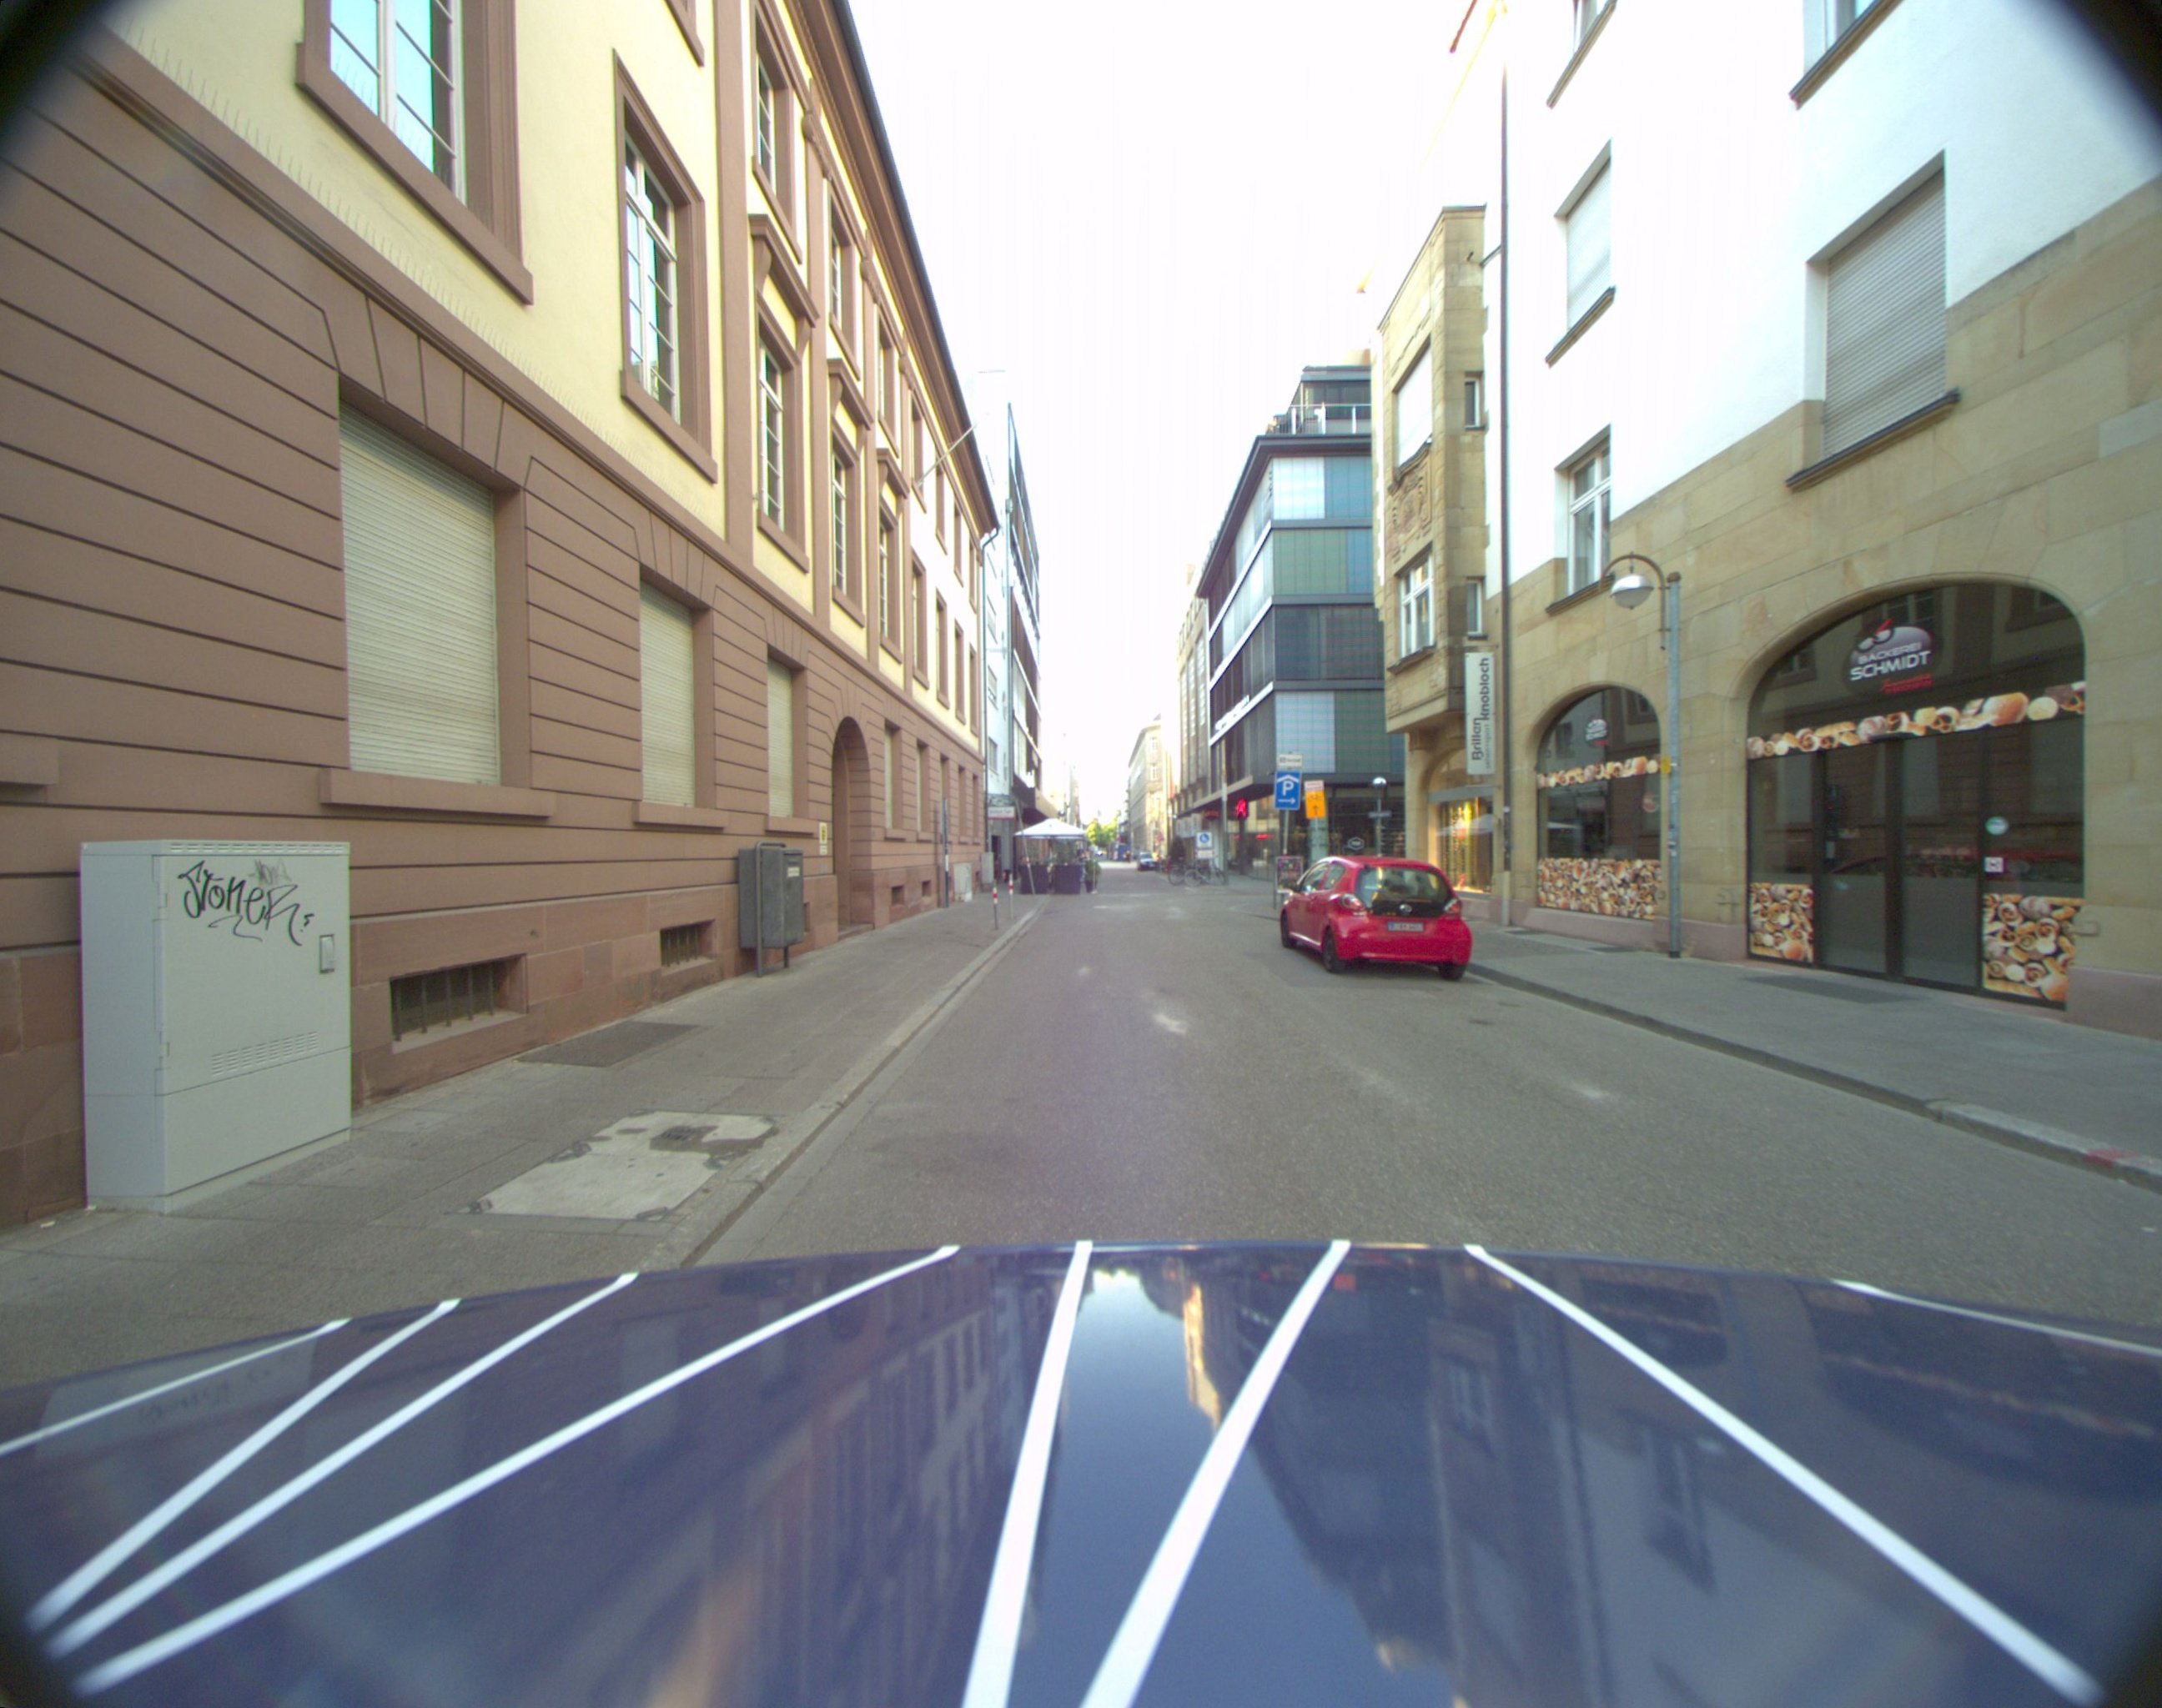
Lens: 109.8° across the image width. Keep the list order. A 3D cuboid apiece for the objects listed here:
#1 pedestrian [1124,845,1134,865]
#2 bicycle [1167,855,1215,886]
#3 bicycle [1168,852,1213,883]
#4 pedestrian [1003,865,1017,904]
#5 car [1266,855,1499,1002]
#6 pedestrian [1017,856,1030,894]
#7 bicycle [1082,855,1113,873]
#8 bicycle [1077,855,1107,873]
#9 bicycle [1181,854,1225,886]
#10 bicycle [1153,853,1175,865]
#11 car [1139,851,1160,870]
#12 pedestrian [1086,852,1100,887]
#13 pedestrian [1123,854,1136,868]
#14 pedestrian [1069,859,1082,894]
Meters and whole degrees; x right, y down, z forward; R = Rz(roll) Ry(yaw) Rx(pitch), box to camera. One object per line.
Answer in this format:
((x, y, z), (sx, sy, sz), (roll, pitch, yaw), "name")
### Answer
((5.005, 0.081, 79.300), (0.804, 2.002, 0.878), (-1, 1, -6), "pedestrian")
((4.635, 0.704, 32.158), (1.902, 1.174, 0.517), (-3, -1, 0), "bicycle")
((5.010, 0.619, 34.896), (1.902, 1.262, 0.538), (-5, 1, 2), "bicycle")
((-3.300, 1.406, 35.316), (0.640, 1.762, 0.602), (-1, 1, -4), "pedestrian")
((3.818, 0.833, 10.393), (1.661, 1.461, 3.932), (3, 1, 2), "car")
((-2.005, 0.729, 26.275), (0.363, 1.298, 0.494), (-1, 1, -13), "pedestrian")
((1.121, 0.660, 51.256), (2.038, 1.161, 0.665), (2, 1, 0), "bicycle")
((0.794, 0.661, 52.969), (2.038, 1.161, 0.619), (2, 1, 0), "bicycle")
((4.913, 0.645, 30.666), (1.669, 1.197, 0.509), (-3, 1, 1), "bicycle")
((9.301, 0.558, 85.018), (2.341, 1.182, 0.517), (-1, 1, -15), "bicycle")
((5.356, 0.454, 59.171), (1.602, 1.415, 3.605), (-1, 0, 5), "car")
((0.502, 0.640, 31.367), (0.575, 1.412, 0.868), (-1, 1, 2), "pedestrian")
((5.292, 0.776, 83.101), (0.917, 1.563, 0.995), (0, 1, 45), "pedestrian")
((-0.201, 0.774, 26.369), (0.400, 1.206, 0.383), (-1, 1, -8), "pedestrian")
